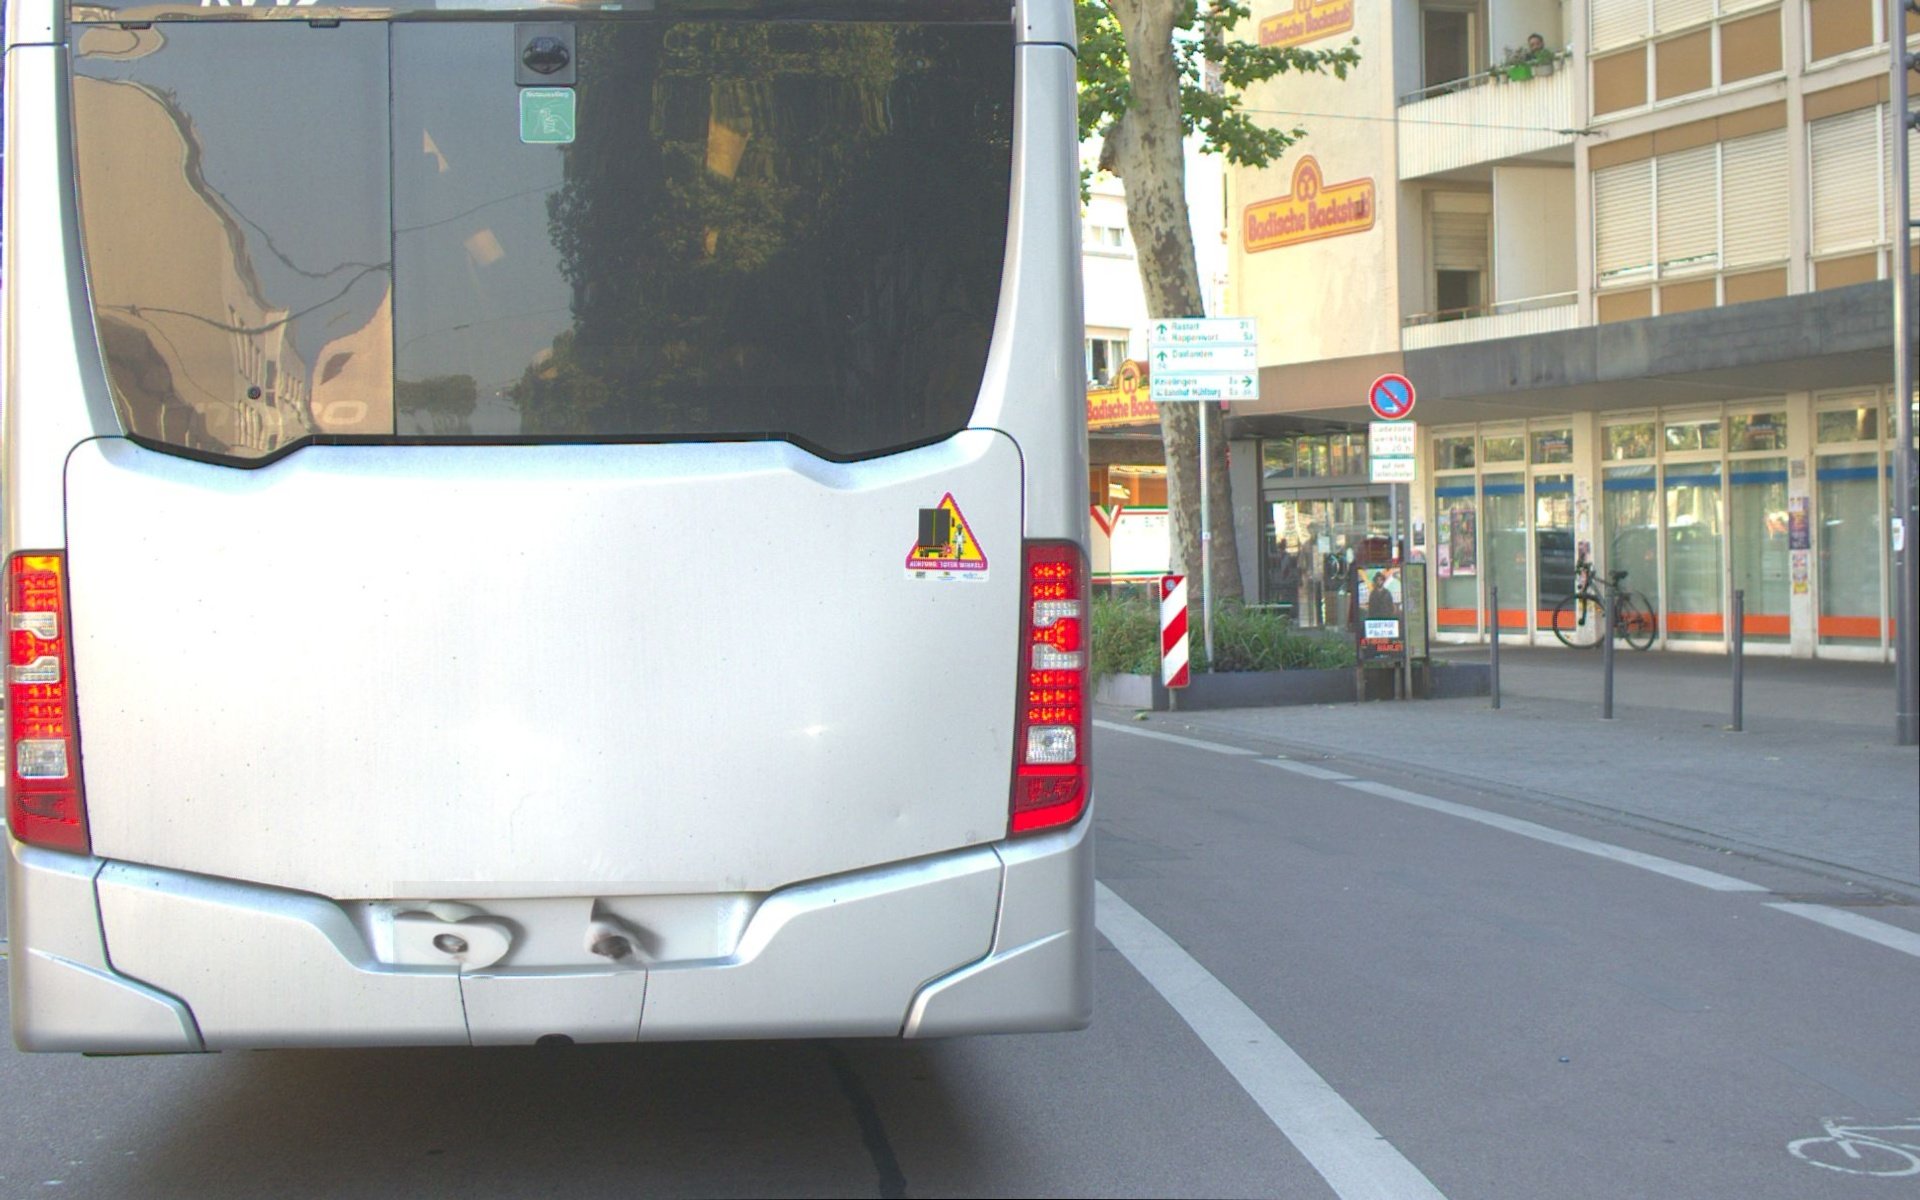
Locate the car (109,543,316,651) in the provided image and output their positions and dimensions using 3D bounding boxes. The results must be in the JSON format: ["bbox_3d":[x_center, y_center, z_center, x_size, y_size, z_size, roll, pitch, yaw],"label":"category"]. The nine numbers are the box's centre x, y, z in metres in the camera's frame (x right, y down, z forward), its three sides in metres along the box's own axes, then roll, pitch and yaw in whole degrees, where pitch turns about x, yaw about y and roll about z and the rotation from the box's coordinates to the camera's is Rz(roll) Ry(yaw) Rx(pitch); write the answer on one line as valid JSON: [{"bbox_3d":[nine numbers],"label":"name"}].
[{"bbox_3d":[-10.726,-0.072,49.163,1.756,1.459,4.000,-1,1,-30],"label":"car"}]

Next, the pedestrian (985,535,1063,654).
[{"bbox_3d":[0.941,-0.090,50.638,0.835,1.706,0.793,-3,2,-24],"label":"pedestrian"}]

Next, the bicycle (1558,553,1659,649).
[{"bbox_3d":[7.592,0.002,40.313,0.437,1.089,1.462,-4,2,-19],"label":"bicycle"}]

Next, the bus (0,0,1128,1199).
[{"bbox_3d":[-1.341,-0.203,12.650,2.657,3.088,10.217,-1,1,-4],"label":"bus"}]

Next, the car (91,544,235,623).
[{"bbox_3d":[-16.875,-0.366,72.689,1.662,1.511,3.412,-5,4,-36],"label":"car"}]

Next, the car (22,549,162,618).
[{"bbox_3d":[-19.214,-0.376,76.022,1.663,1.390,3.412,-5,4,-38],"label":"car"}]
